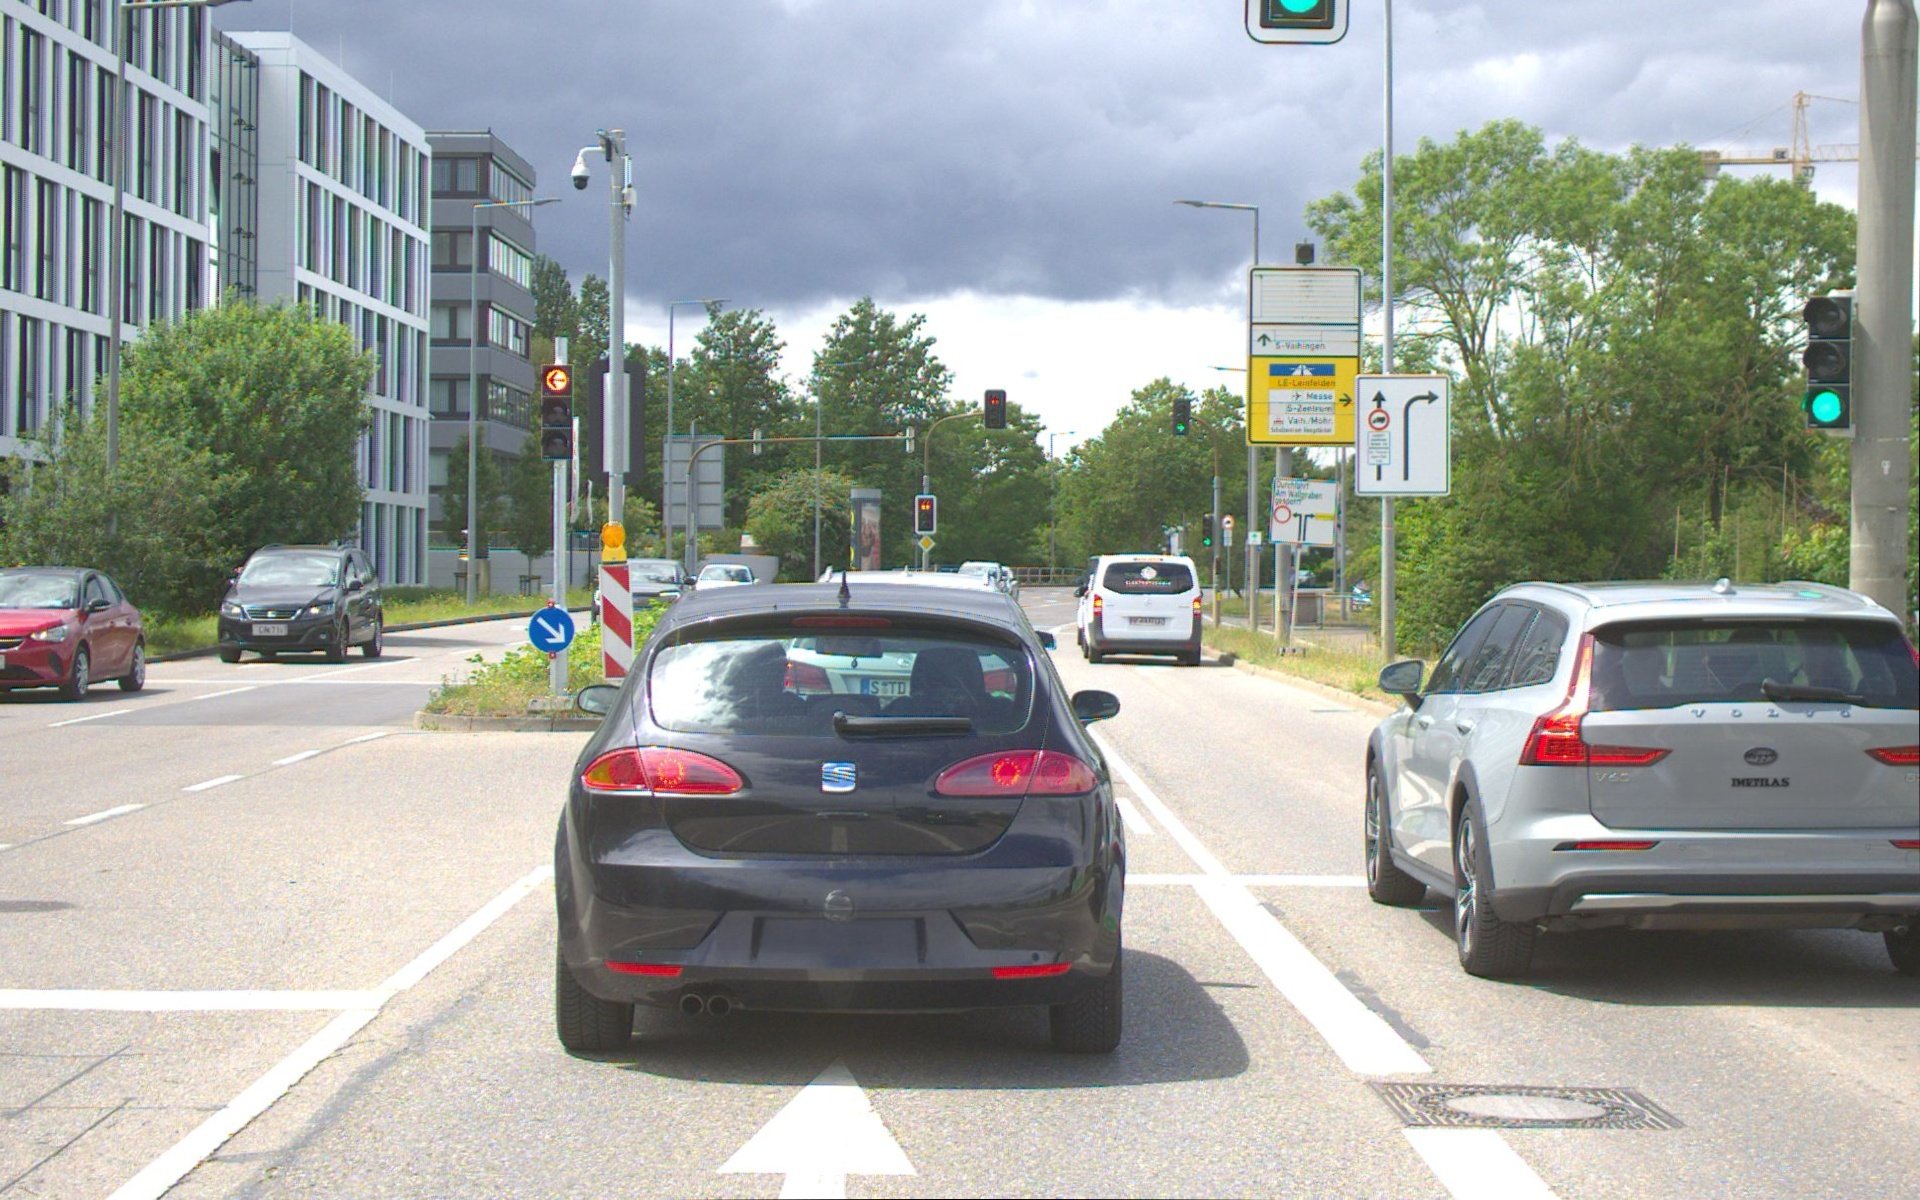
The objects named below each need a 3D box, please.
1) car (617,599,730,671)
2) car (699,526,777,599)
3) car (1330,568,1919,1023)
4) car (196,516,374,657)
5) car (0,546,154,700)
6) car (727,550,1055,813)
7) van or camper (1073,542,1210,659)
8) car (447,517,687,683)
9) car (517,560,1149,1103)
[{"bbox_3d":[-5.735,0.683,69.251,1.993,1.404,4.000,0,0,-1],"label":"car"},{"bbox_3d":[-6.225,-1.041,96.866,1.993,2.007,4.000,0,0,-1],"label":"car"},{"bbox_3d":[2.752,0.662,13.888,1.958,1.520,4.340,-1,0,-1],"label":"car"},{"bbox_3d":[-10.033,-0.193,51.396,1.993,2.007,4.481,0,0,-3],"label":"car"},{"bbox_3d":[-10.206,0.240,37.844,1.776,1.606,4.000,0,0,-1],"label":"car"},{"bbox_3d":[-0.470,0.494,23.132,1.983,1.585,4.226,1,0,-1],"label":"car"},{"bbox_3d":[3.060,0.006,58.731,1.899,1.919,4.000,0,0,-3],"label":"van or camper"},{"bbox_3d":[-3.618,0.000,32.280,1.845,1.456,4.056,0,0,-1],"label":"car"},{"bbox_3d":[-0.265,0.648,11.698,1.748,1.479,4.000,2,0,3],"label":"car"}]
